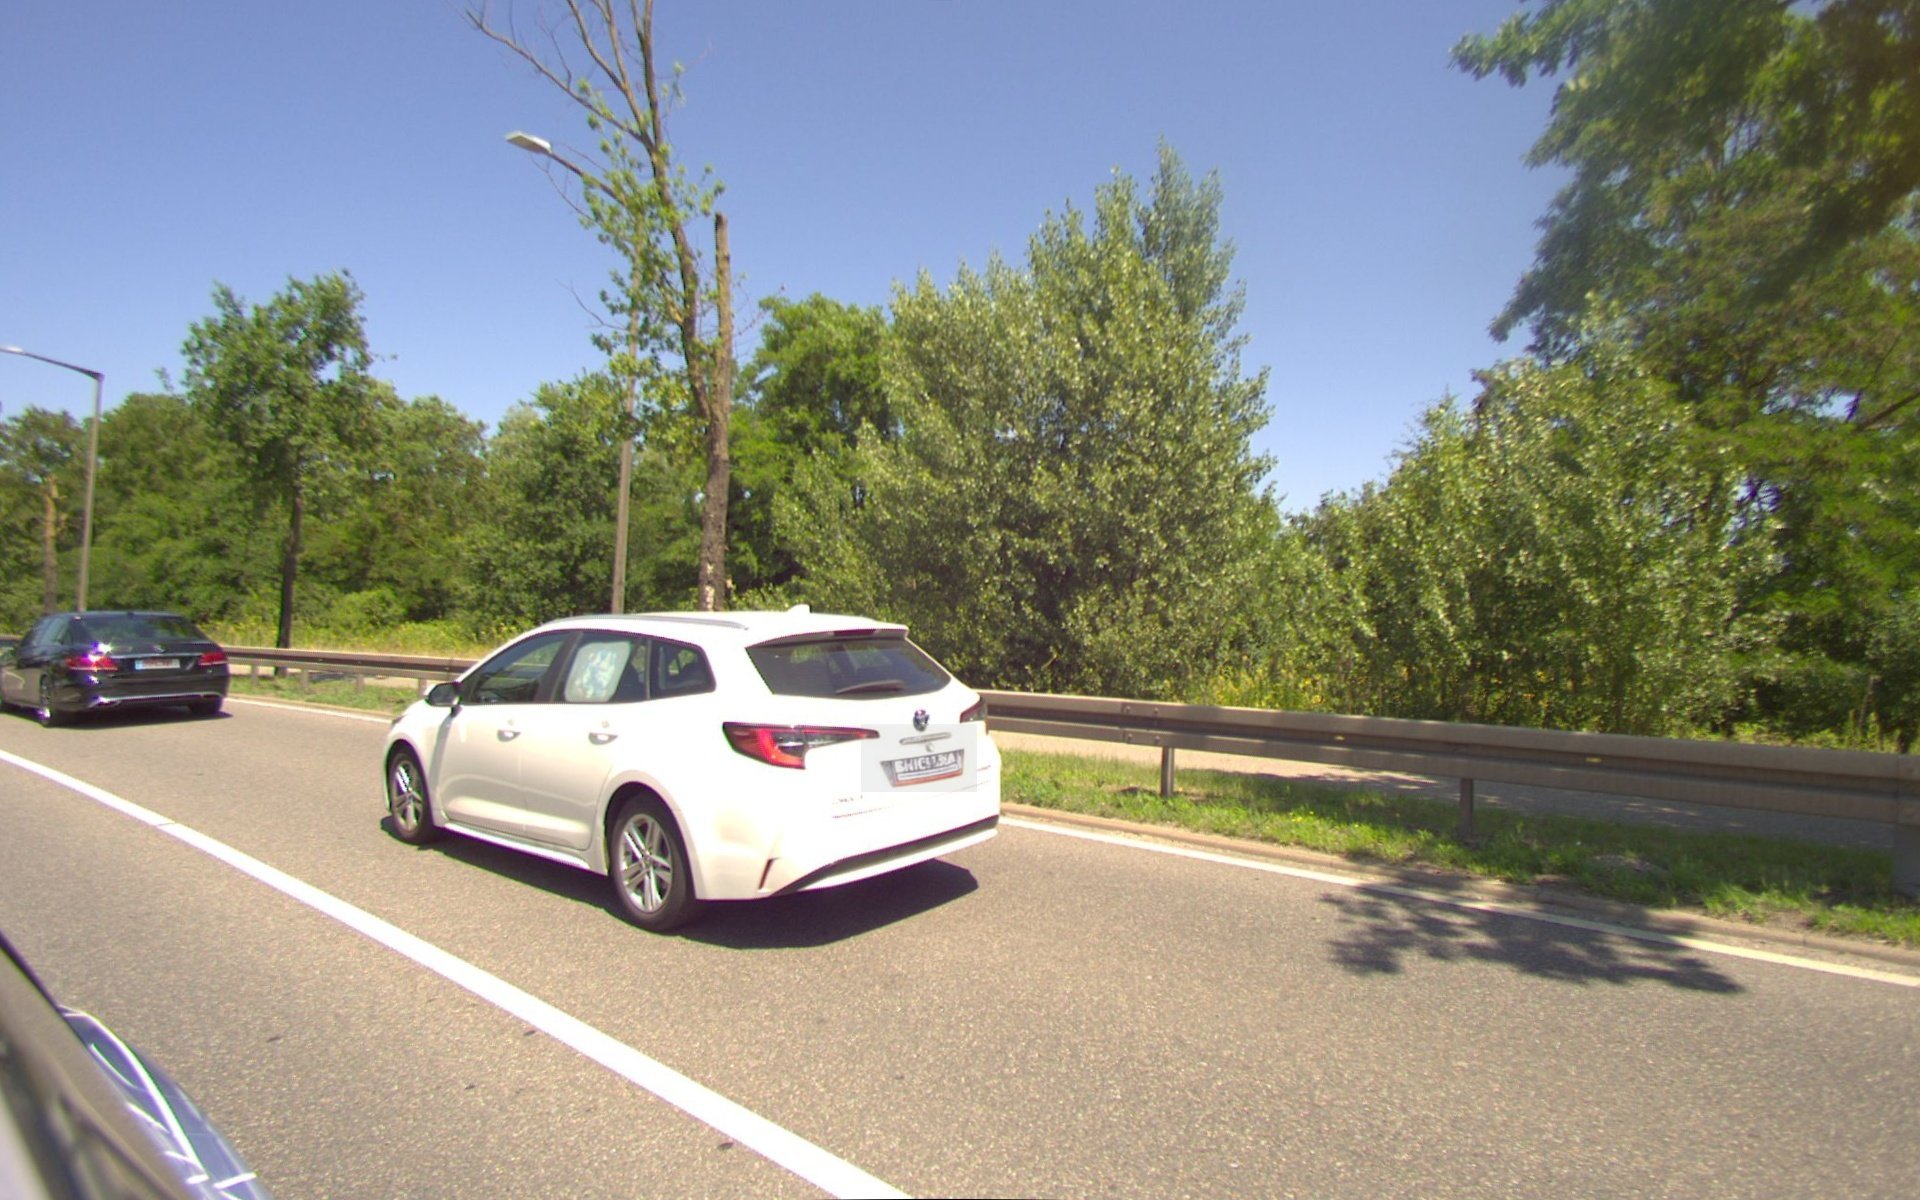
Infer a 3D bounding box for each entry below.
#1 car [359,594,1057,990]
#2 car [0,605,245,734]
[{"bbox_3d":[-1.748,0.727,5.863,4.457,1.458,1.683,-1,0,41],"label":"car"},{"bbox_3d":[-11.821,0.839,13.943,4.732,1.479,1.829,-1,0,36],"label":"car"}]
